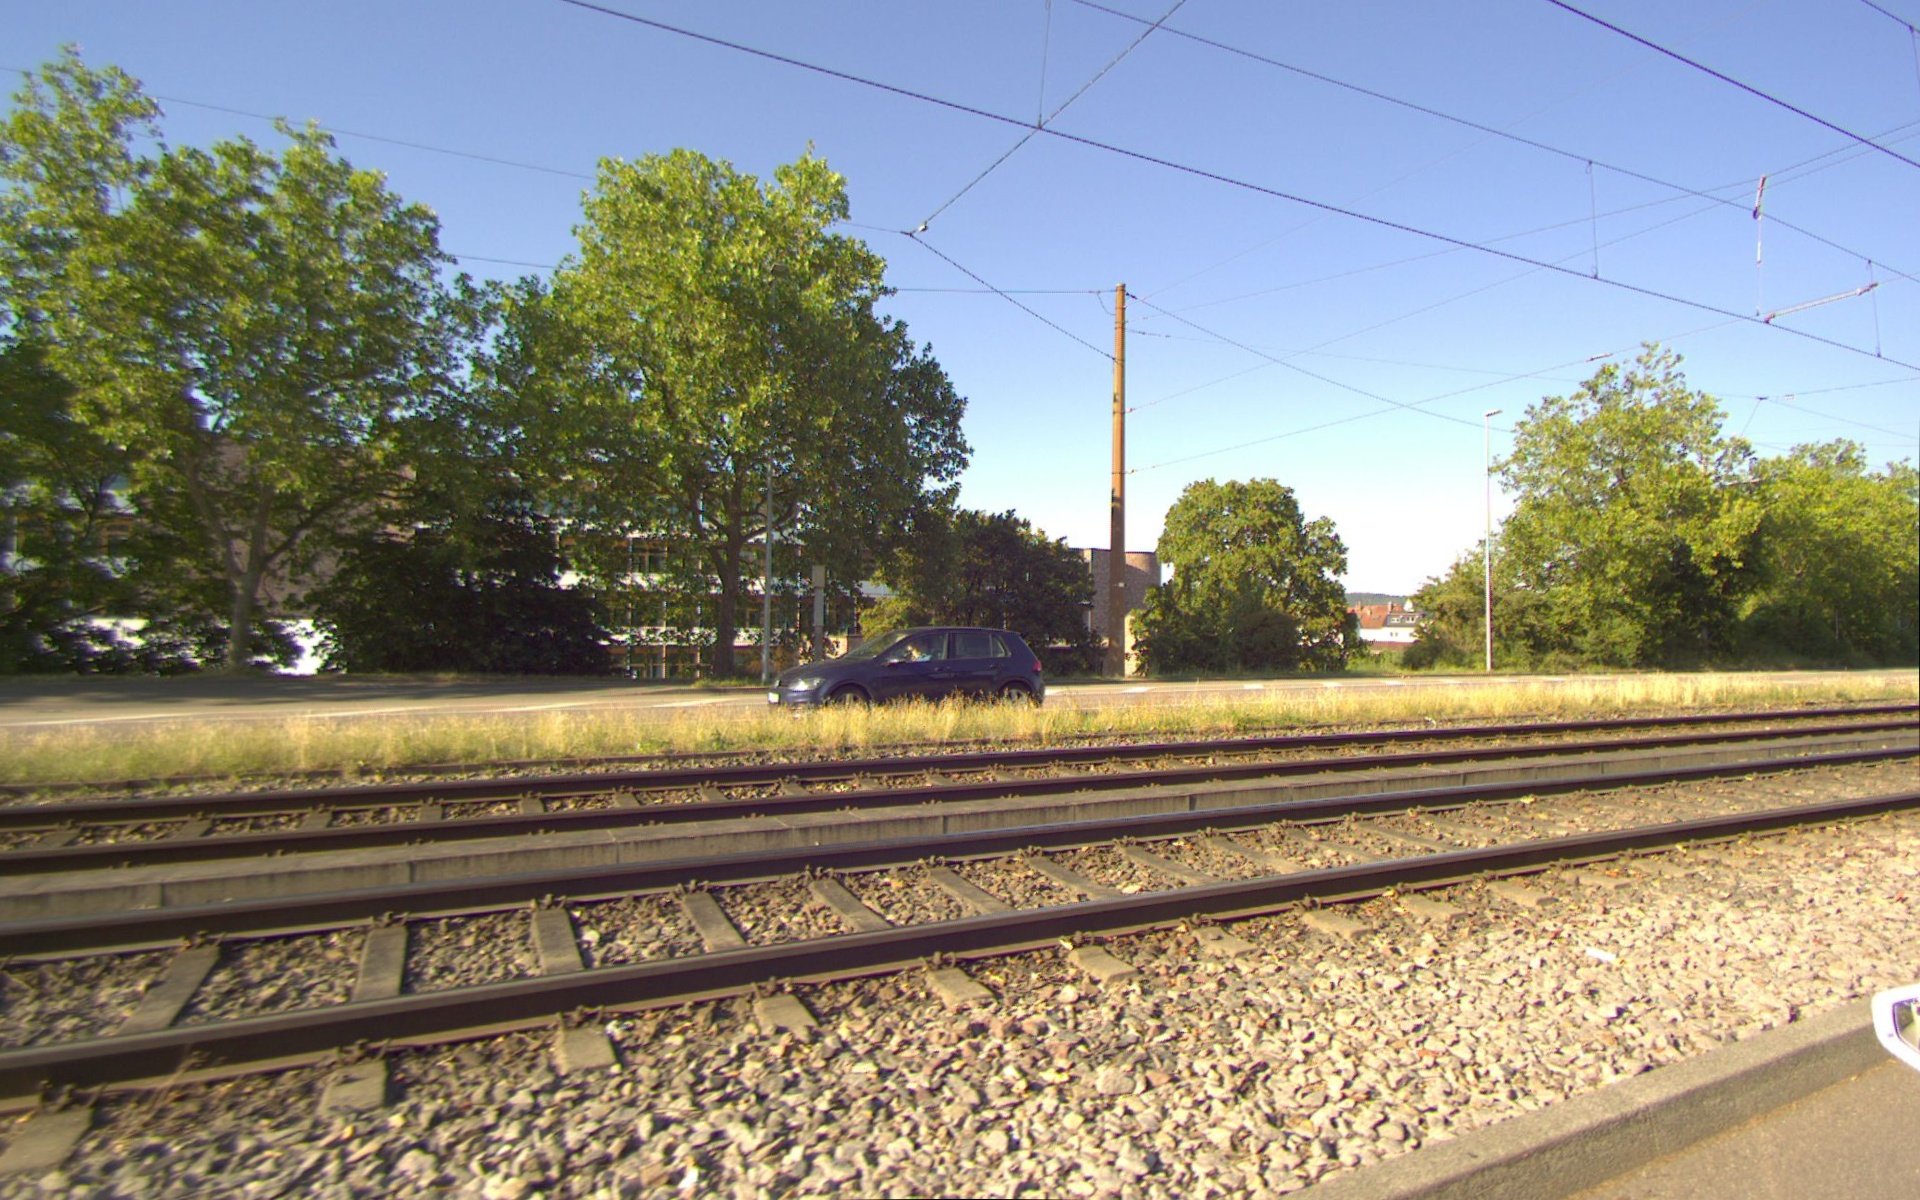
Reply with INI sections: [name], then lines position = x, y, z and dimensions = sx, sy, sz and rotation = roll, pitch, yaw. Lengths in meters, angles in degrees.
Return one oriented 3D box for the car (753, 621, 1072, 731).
[car]
position = -0.674, 1.061, 14.994
dimensions = 4.430, 1.444, 1.767
rotation = 1, -1, -26
